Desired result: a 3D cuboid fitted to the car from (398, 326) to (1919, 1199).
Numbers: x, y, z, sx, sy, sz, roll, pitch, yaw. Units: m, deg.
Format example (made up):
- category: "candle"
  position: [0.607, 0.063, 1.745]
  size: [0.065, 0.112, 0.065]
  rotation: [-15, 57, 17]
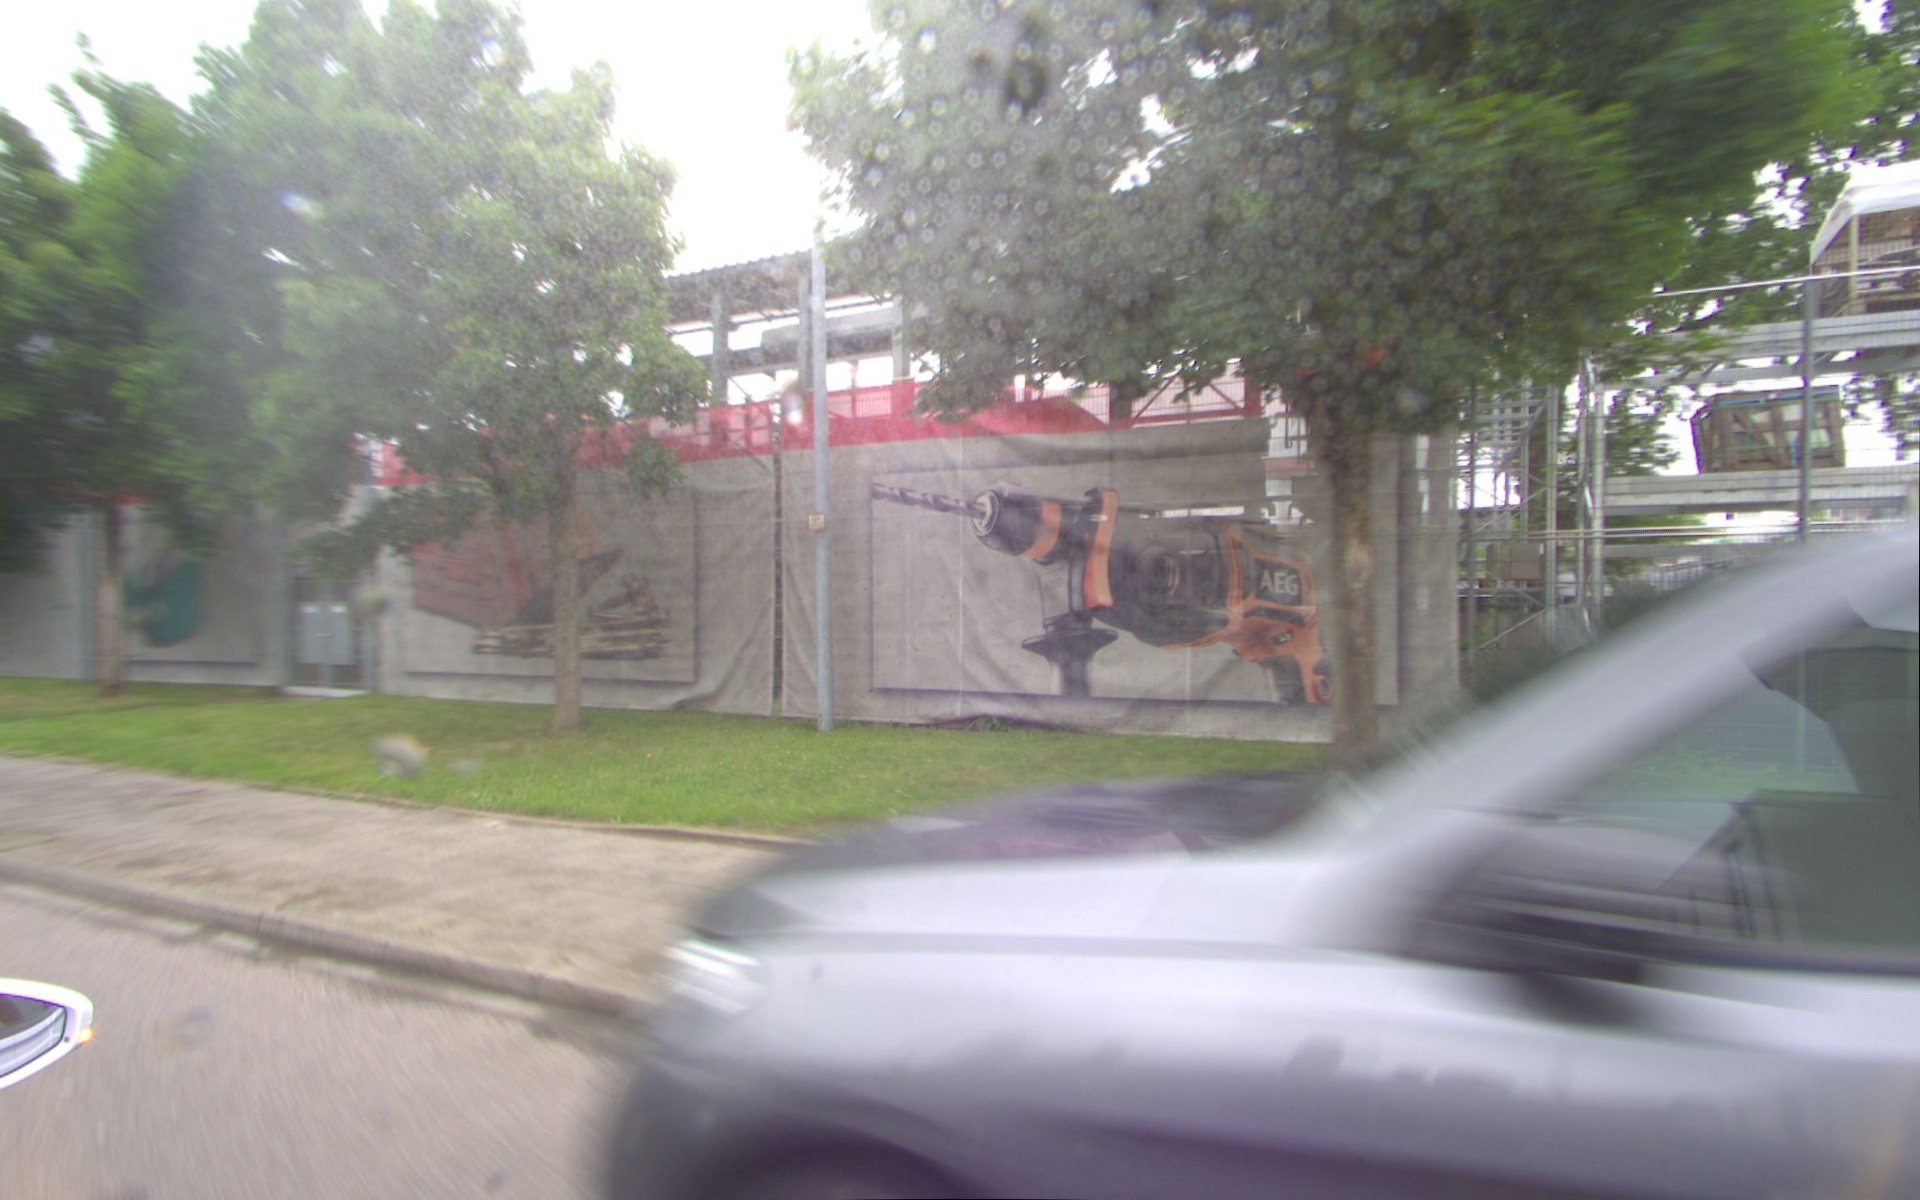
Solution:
- category: "car"
  position: [1.442, 0.702, 1.591]
  size: [4.408, 1.762, 1.910]
  rotation: [0, -3, 26]
